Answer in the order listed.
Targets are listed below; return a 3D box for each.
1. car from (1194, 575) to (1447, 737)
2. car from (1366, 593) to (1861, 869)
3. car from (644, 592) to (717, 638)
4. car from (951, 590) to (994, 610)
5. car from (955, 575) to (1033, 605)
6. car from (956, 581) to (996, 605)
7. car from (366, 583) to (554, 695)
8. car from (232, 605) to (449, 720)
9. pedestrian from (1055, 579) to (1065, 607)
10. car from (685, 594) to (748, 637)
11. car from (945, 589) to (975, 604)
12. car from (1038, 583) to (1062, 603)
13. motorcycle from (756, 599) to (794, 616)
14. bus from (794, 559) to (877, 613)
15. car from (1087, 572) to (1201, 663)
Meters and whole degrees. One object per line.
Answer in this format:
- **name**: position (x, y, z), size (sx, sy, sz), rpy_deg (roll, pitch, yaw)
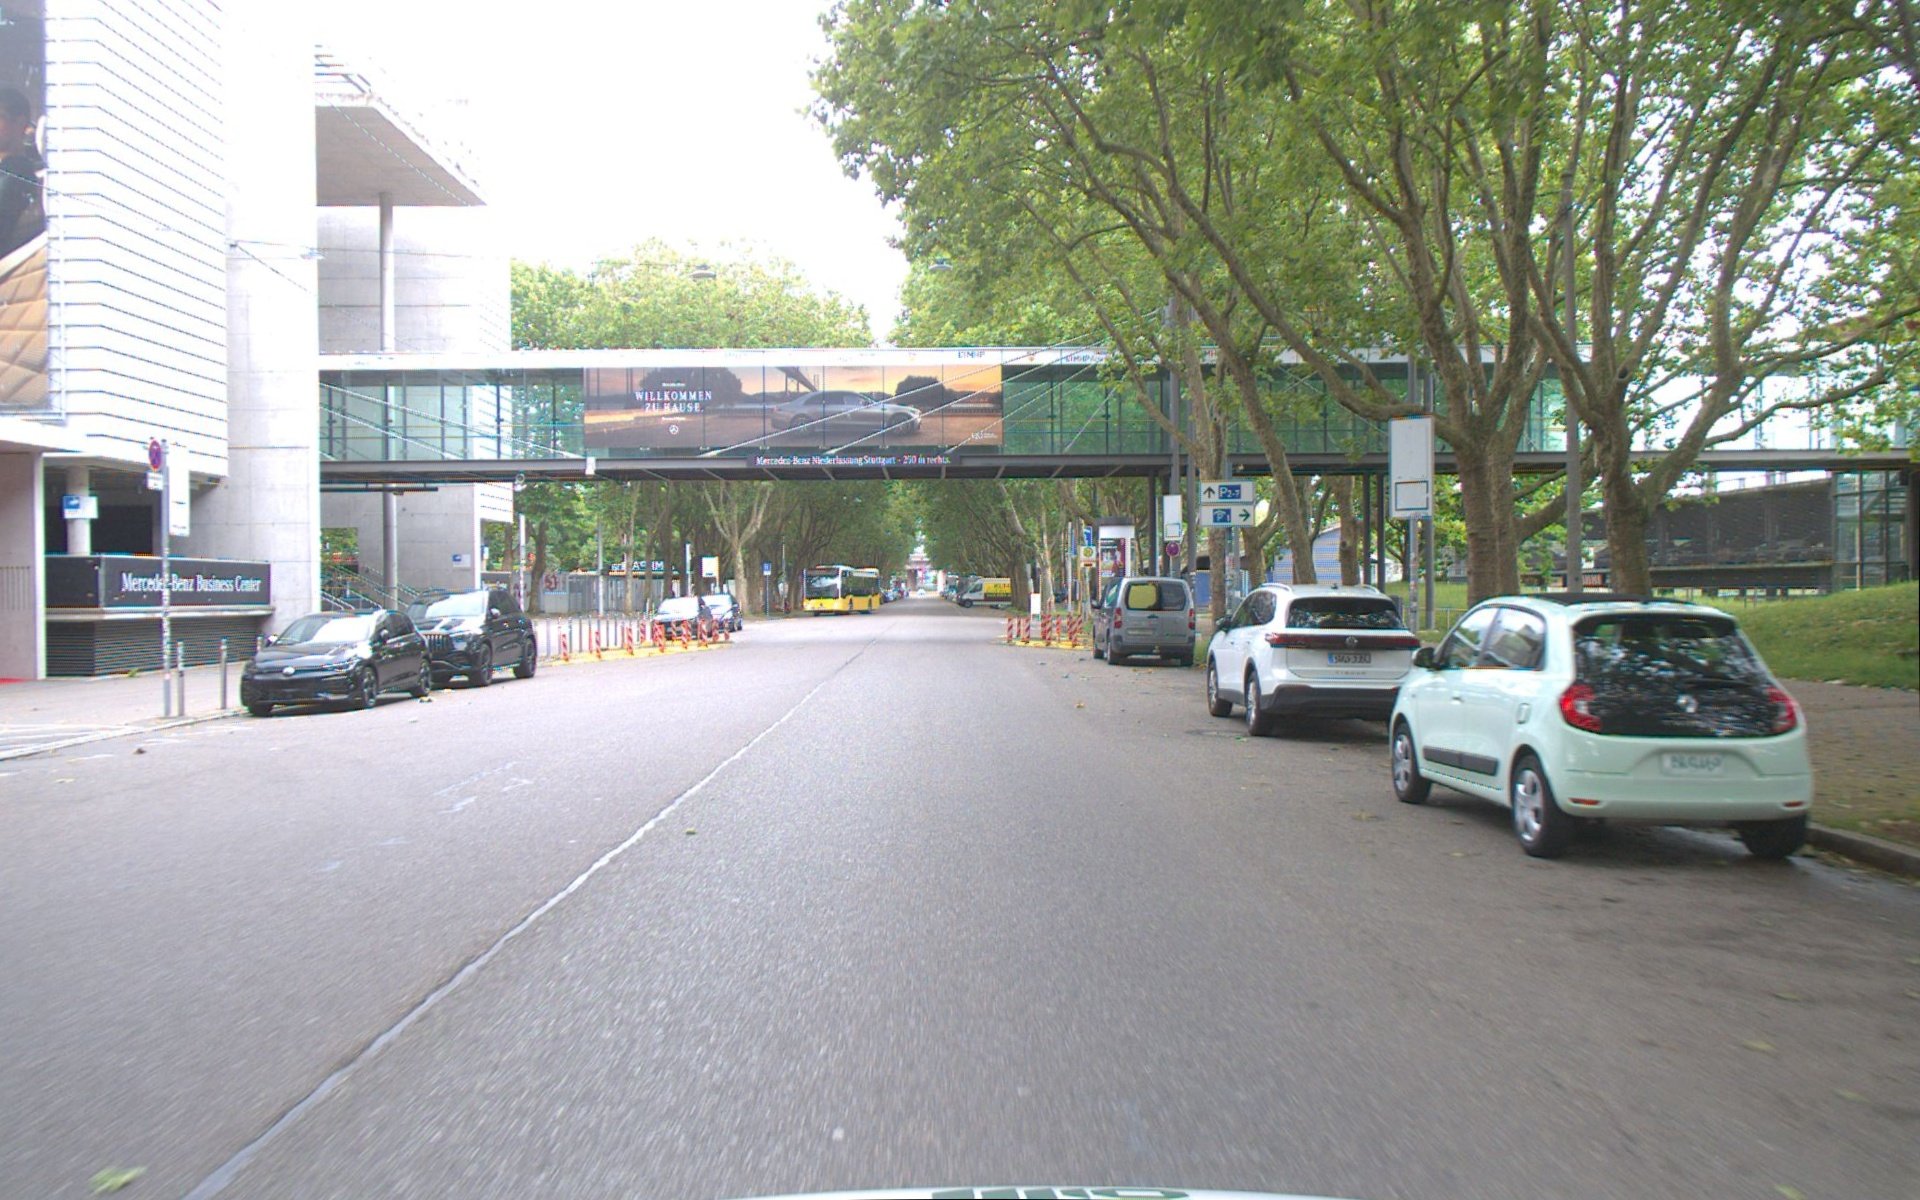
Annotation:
- **car**: position (4.041, 0.569, 19.372), size (1.875, 1.646, 4.748), rpy_deg (-1, 0, -1)
- **car**: position (4.231, 0.740, 11.479), size (1.771, 1.553, 4.095), rpy_deg (-1, 0, -1)
- **car**: position (-10.081, 0.504, 59.941), size (1.820, 1.478, 4.448), rpy_deg (-3, 1, -1)
- **car**: position (1.183, -0.030, 153.176), size (3.906, 1.825, 1.542), rpy_deg (-1, 0, -2)
- **car**: position (2.946, -0.915, 145.759), size (6.687, 2.557, 2.315), rpy_deg (-1, 1, -3)
- **car**: position (1.613, -0.696, 163.825), size (3.906, 2.380, 1.542), rpy_deg (-1, 0, -2)
- **car**: position (-9.301, 0.653, 31.205), size (1.993, 1.820, 4.907), rpy_deg (-4, 1, -1)
- **car**: position (-9.371, 0.887, 25.400), size (1.670, 1.444, 4.324), rpy_deg (-3, 1, -1)
- **pedestrian**: position (6.882, -0.505, 113.412), size (0.562, 1.921, 0.615), rpy_deg (-1, 0, -10)
- **car**: position (-10.081, 0.617, 68.625), size (1.953, 1.612, 4.113), rpy_deg (-3, 1, -1)
- **car**: position (-0.049, -0.436, 198.946), size (3.548, 1.825, 1.542), rpy_deg (-1, 0, -2)
- **car**: position (8.412, -0.654, 154.755), size (1.953, 1.803, 3.999), rpy_deg (-1, 0, -1)
- **motorcycle**: position (-13.102, 0.516, 116.999), size (2.559, 1.143, 0.698), rpy_deg (-1, 0, -25)
- **bus**: position (-8.085, -0.943, 109.248), size (2.974, 3.215, 12.687), rpy_deg (-2, 0, 7)
- **car**: position (3.893, 0.335, 35.813), size (1.810, 1.814, 5.210), rpy_deg (1, 0, -1)
